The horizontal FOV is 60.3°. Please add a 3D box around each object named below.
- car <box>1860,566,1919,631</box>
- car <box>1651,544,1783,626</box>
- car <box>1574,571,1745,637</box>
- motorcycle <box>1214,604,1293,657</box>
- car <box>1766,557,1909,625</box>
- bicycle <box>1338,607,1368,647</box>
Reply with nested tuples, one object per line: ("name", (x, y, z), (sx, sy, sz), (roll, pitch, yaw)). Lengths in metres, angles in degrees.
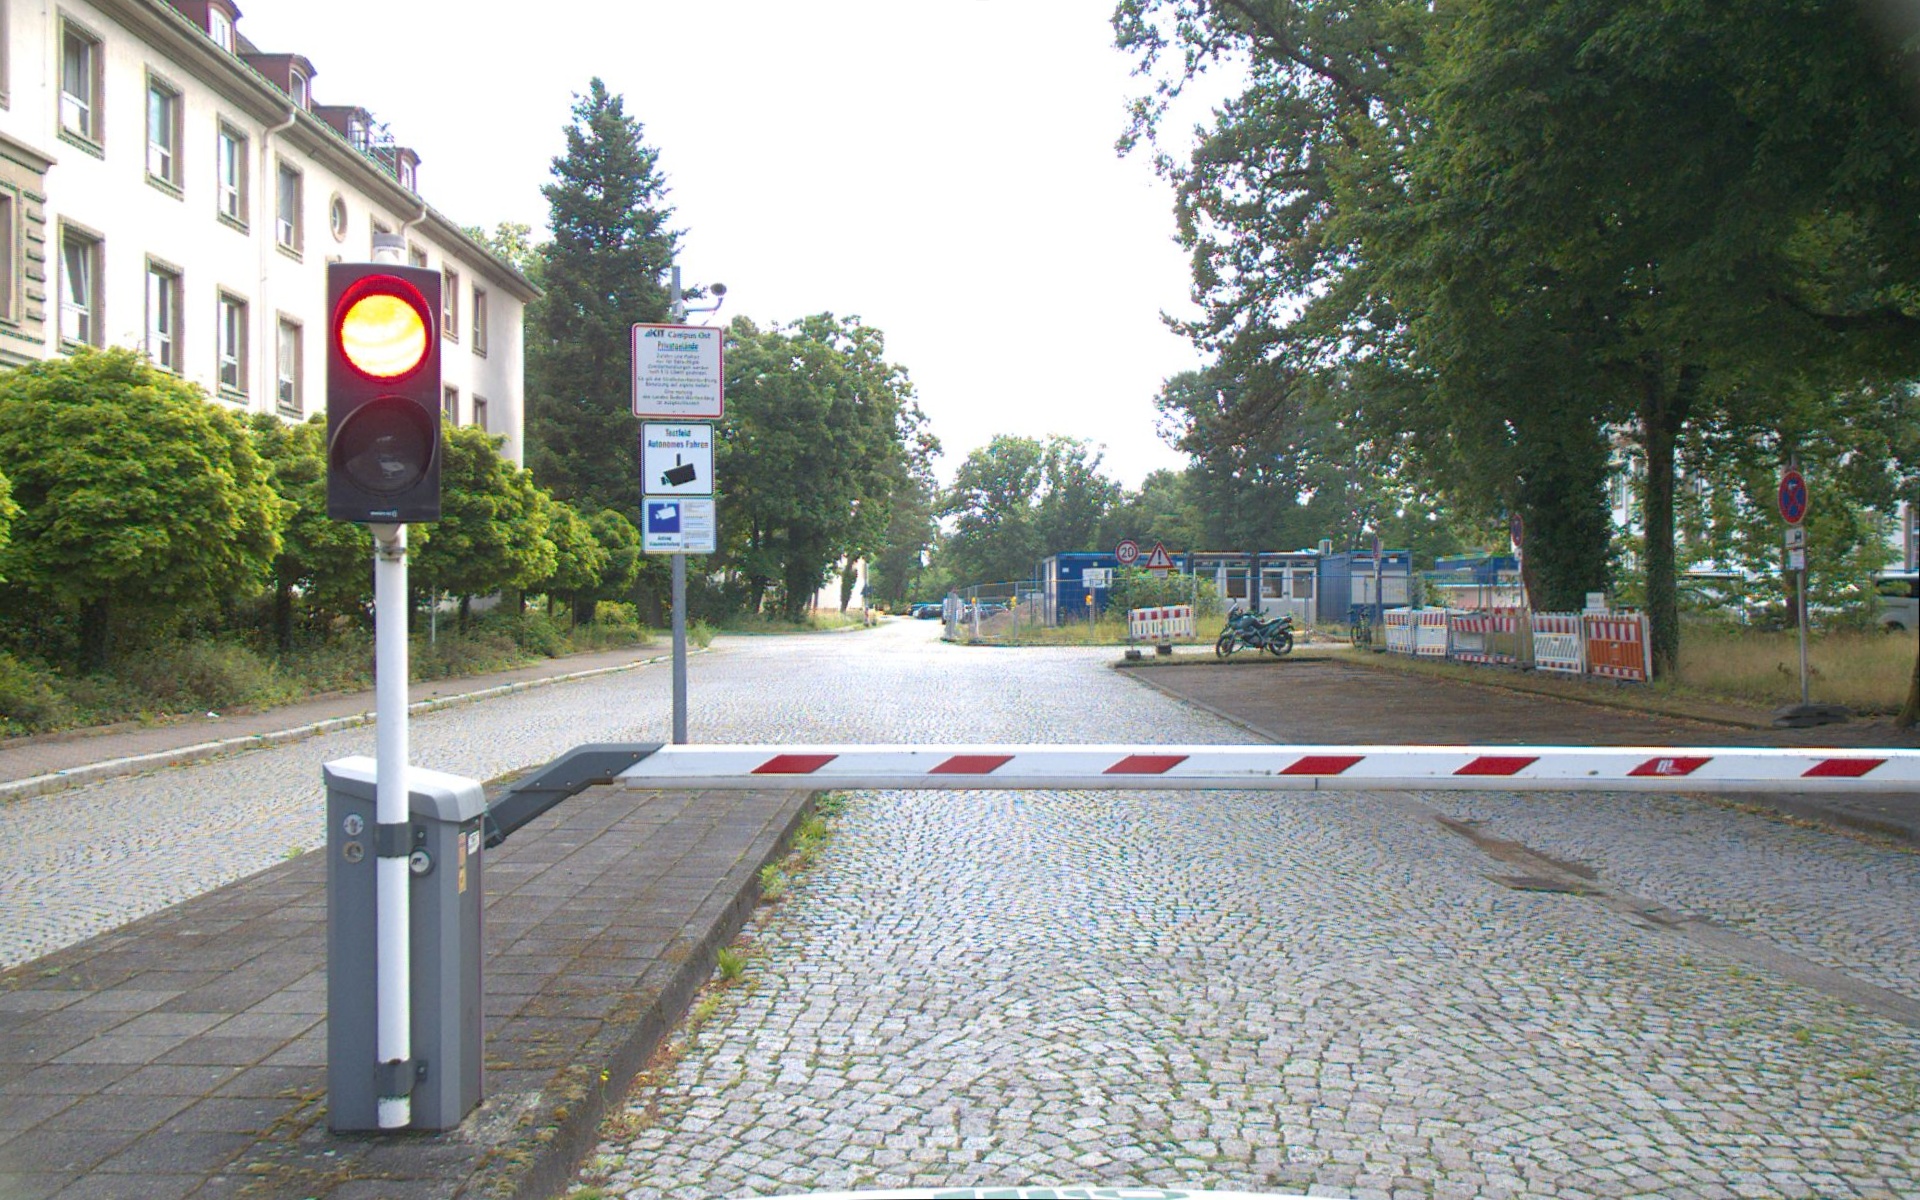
("car", (26.069, -0.037, 42.601), (1.971, 1.679, 4.795), (0, -1, -28))
("car", (23.923, -0.412, 52.500), (1.952, 2.466, 5.358), (0, -1, 3))
("car", (20.369, 0.125, 48.280), (4.132, 1.852, 2.000), (0, -1, 1))
("motorcycle", (7.429, 0.774, 41.865), (1.917, 1.215, 0.461), (-2, 4, -2))
("car", (27.981, -0.277, 52.952), (1.953, 2.049, 4.839), (-1, 0, -1))
("bicycle", (10.312, 0.721, 43.463), (0.325, 1.025, 1.725), (-1, -2, -1))
